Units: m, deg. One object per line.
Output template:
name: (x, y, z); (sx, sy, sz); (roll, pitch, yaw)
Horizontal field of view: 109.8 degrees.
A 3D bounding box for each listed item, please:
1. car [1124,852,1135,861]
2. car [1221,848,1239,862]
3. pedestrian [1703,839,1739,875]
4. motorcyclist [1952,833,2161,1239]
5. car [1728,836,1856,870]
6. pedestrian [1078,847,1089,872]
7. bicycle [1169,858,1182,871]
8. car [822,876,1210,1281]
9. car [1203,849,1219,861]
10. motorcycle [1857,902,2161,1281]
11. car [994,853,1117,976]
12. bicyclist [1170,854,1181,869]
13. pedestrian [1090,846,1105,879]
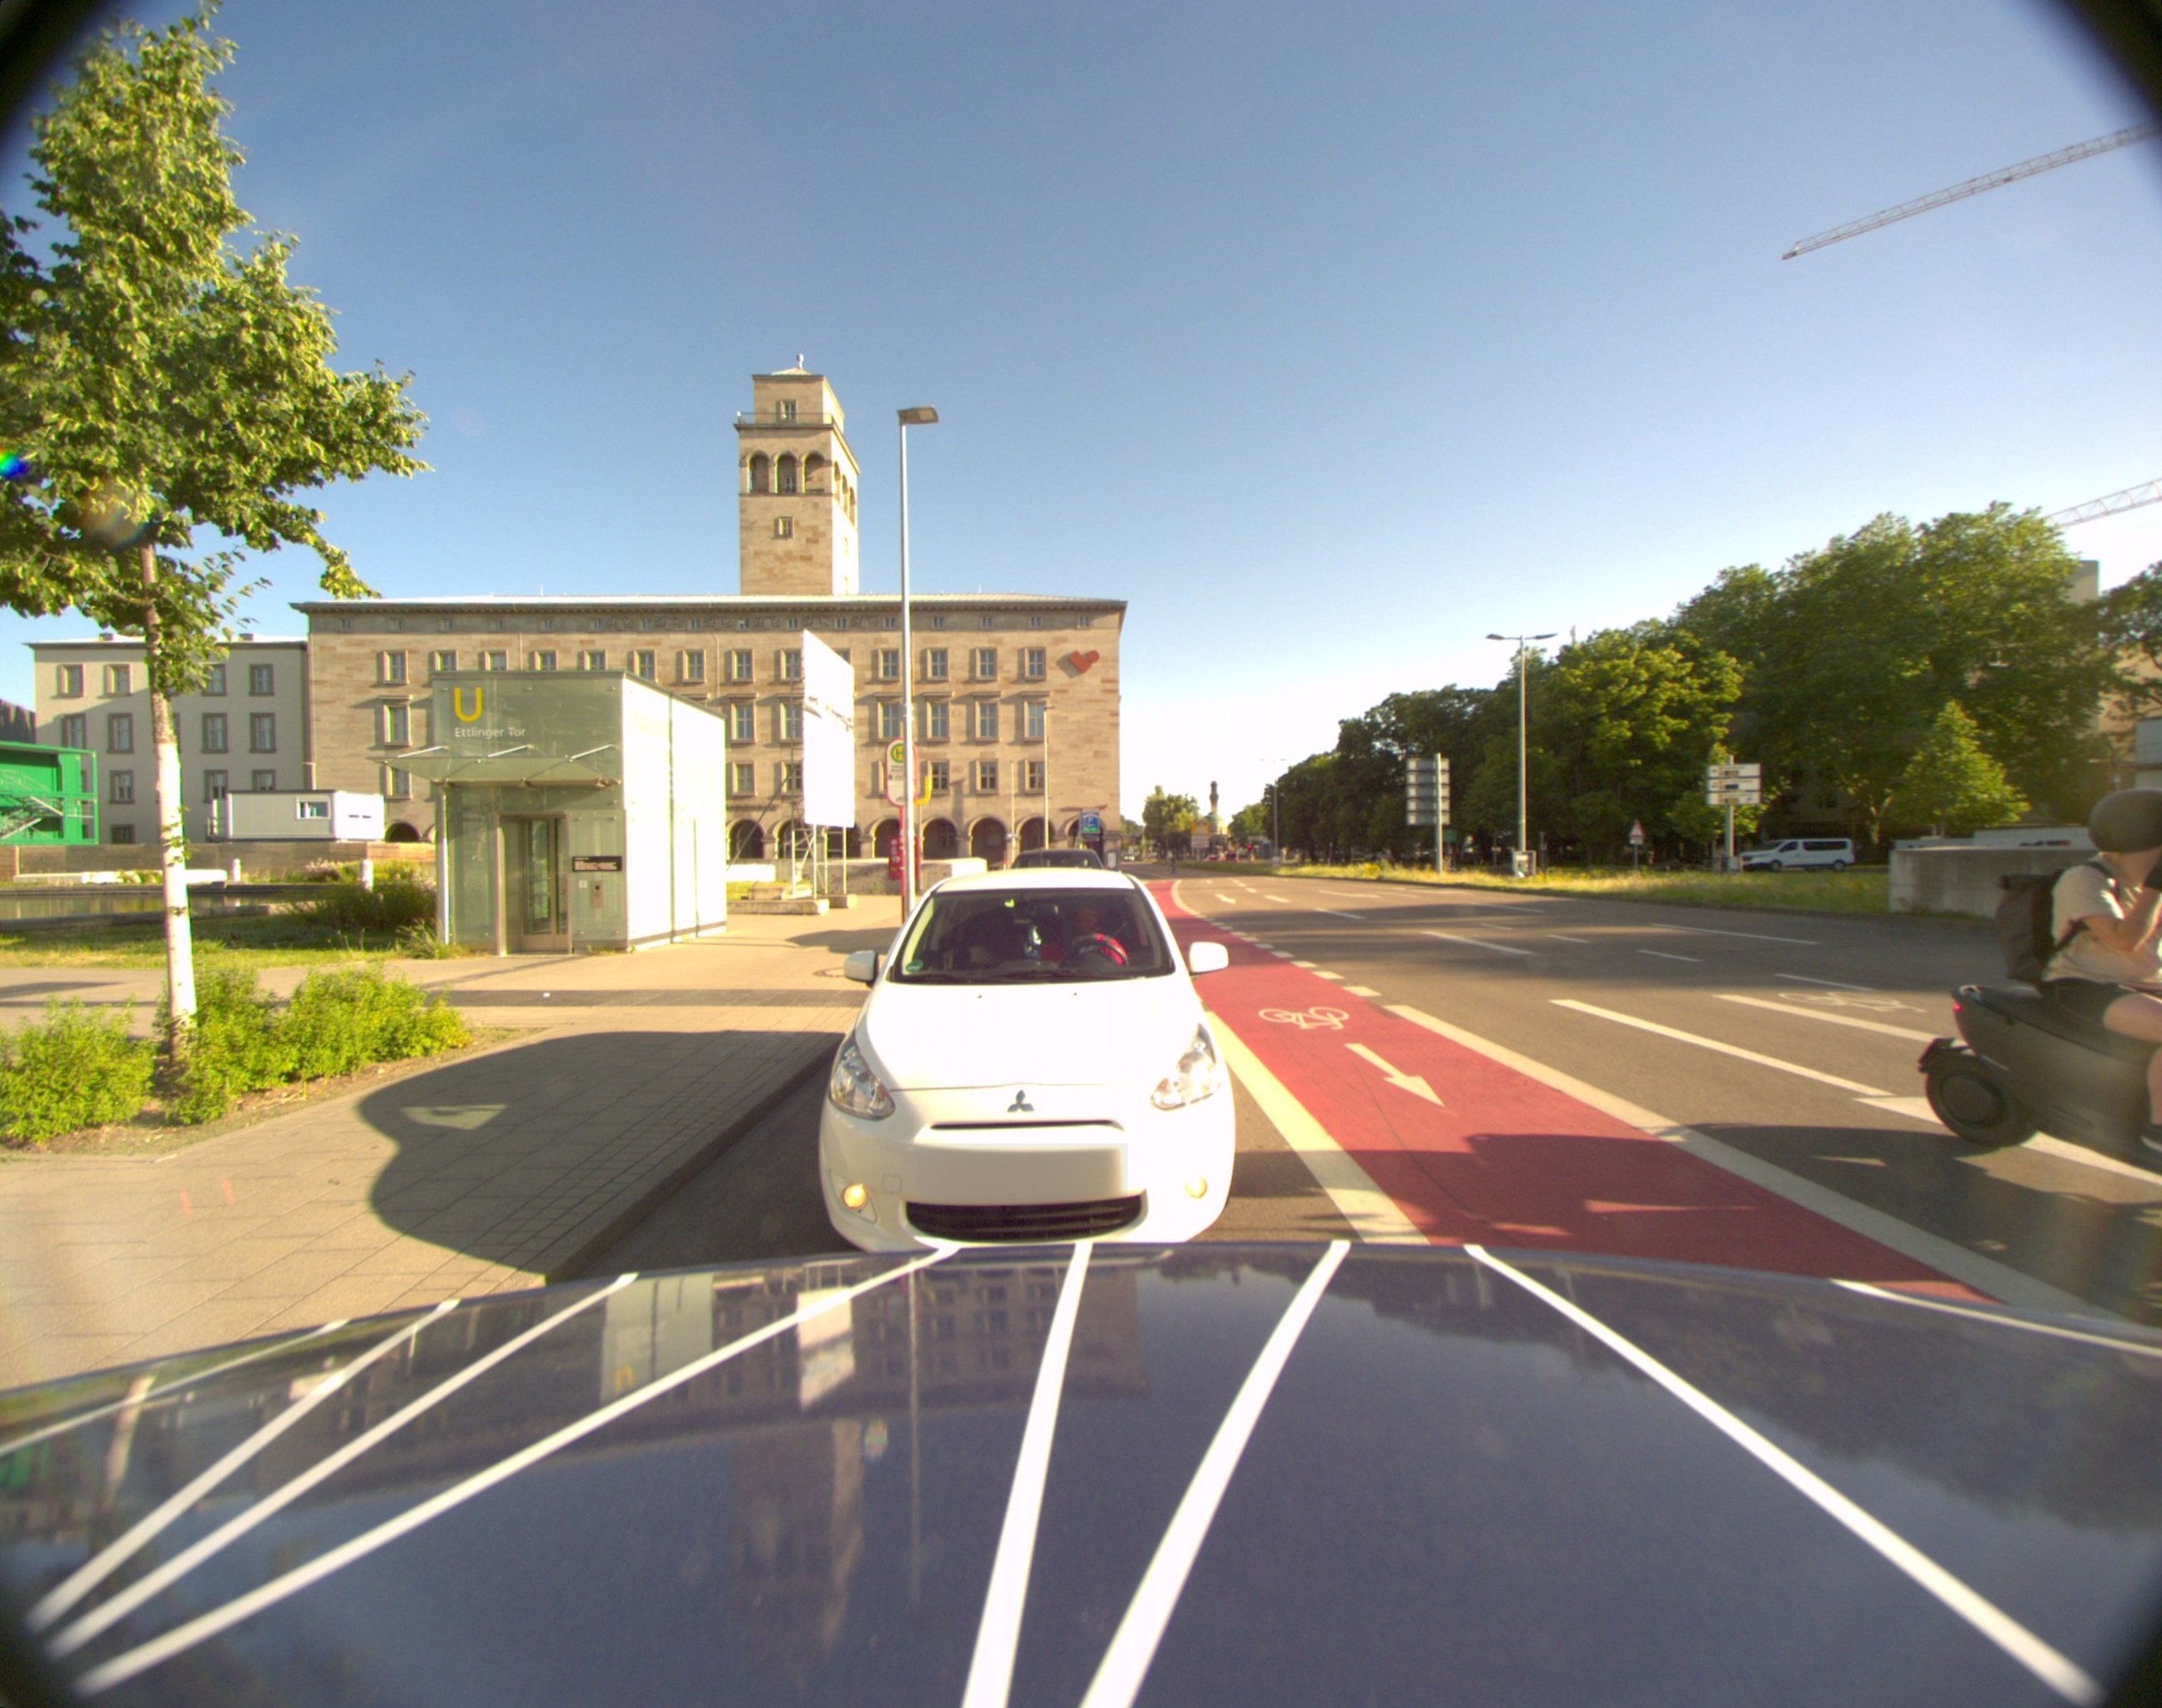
car: (10.904, 0.462, 169.783); (1.877, 1.827, 4.584); (-2, 1, -3)
car: (21.581, 0.133, 110.060); (1.819, 1.817, 3.999); (-2, 1, 1)
pedestrian: (33.645, 0.144, 39.953); (0.989, 1.821, 1.019); (-2, 1, -3)
motorcyclist: (4.273, 0.655, 2.938); (0.727, 1.466, 0.917); (-2, 0, 1)
car: (42.128, -0.045, 45.113); (5.516, 1.924, 2.065); (-1, 1, 2)
pedestrian: (0.264, 0.521, 78.711); (1.122, 2.524, 1.055); (-2, 1, 1)
bicycle: (8.472, 0.921, 68.140); (0.854, 1.109, 2.808); (-2, 0, 1)
car: (-0.237, 0.954, 4.839); (1.496, 1.477, 3.604); (-2, 0, 1)
car: (20.576, 0.129, 120.441); (1.747, 1.778, 3.947); (-2, 1, 1)
motorcycle: (4.280, 0.899, 2.885); (0.724, 1.286, 1.884); (-2, 0, 1)
car: (-0.377, 0.841, 12.518); (1.642, 1.653, 3.849); (-2, 0, -1)
bicyclist: (8.475, 0.691, 68.277); (0.854, 1.340, 0.829); (-2, 1, 1)
pedestrian: (1.290, 0.685, 60.630); (1.122, 2.524, 1.055); (-2, 1, 1)
